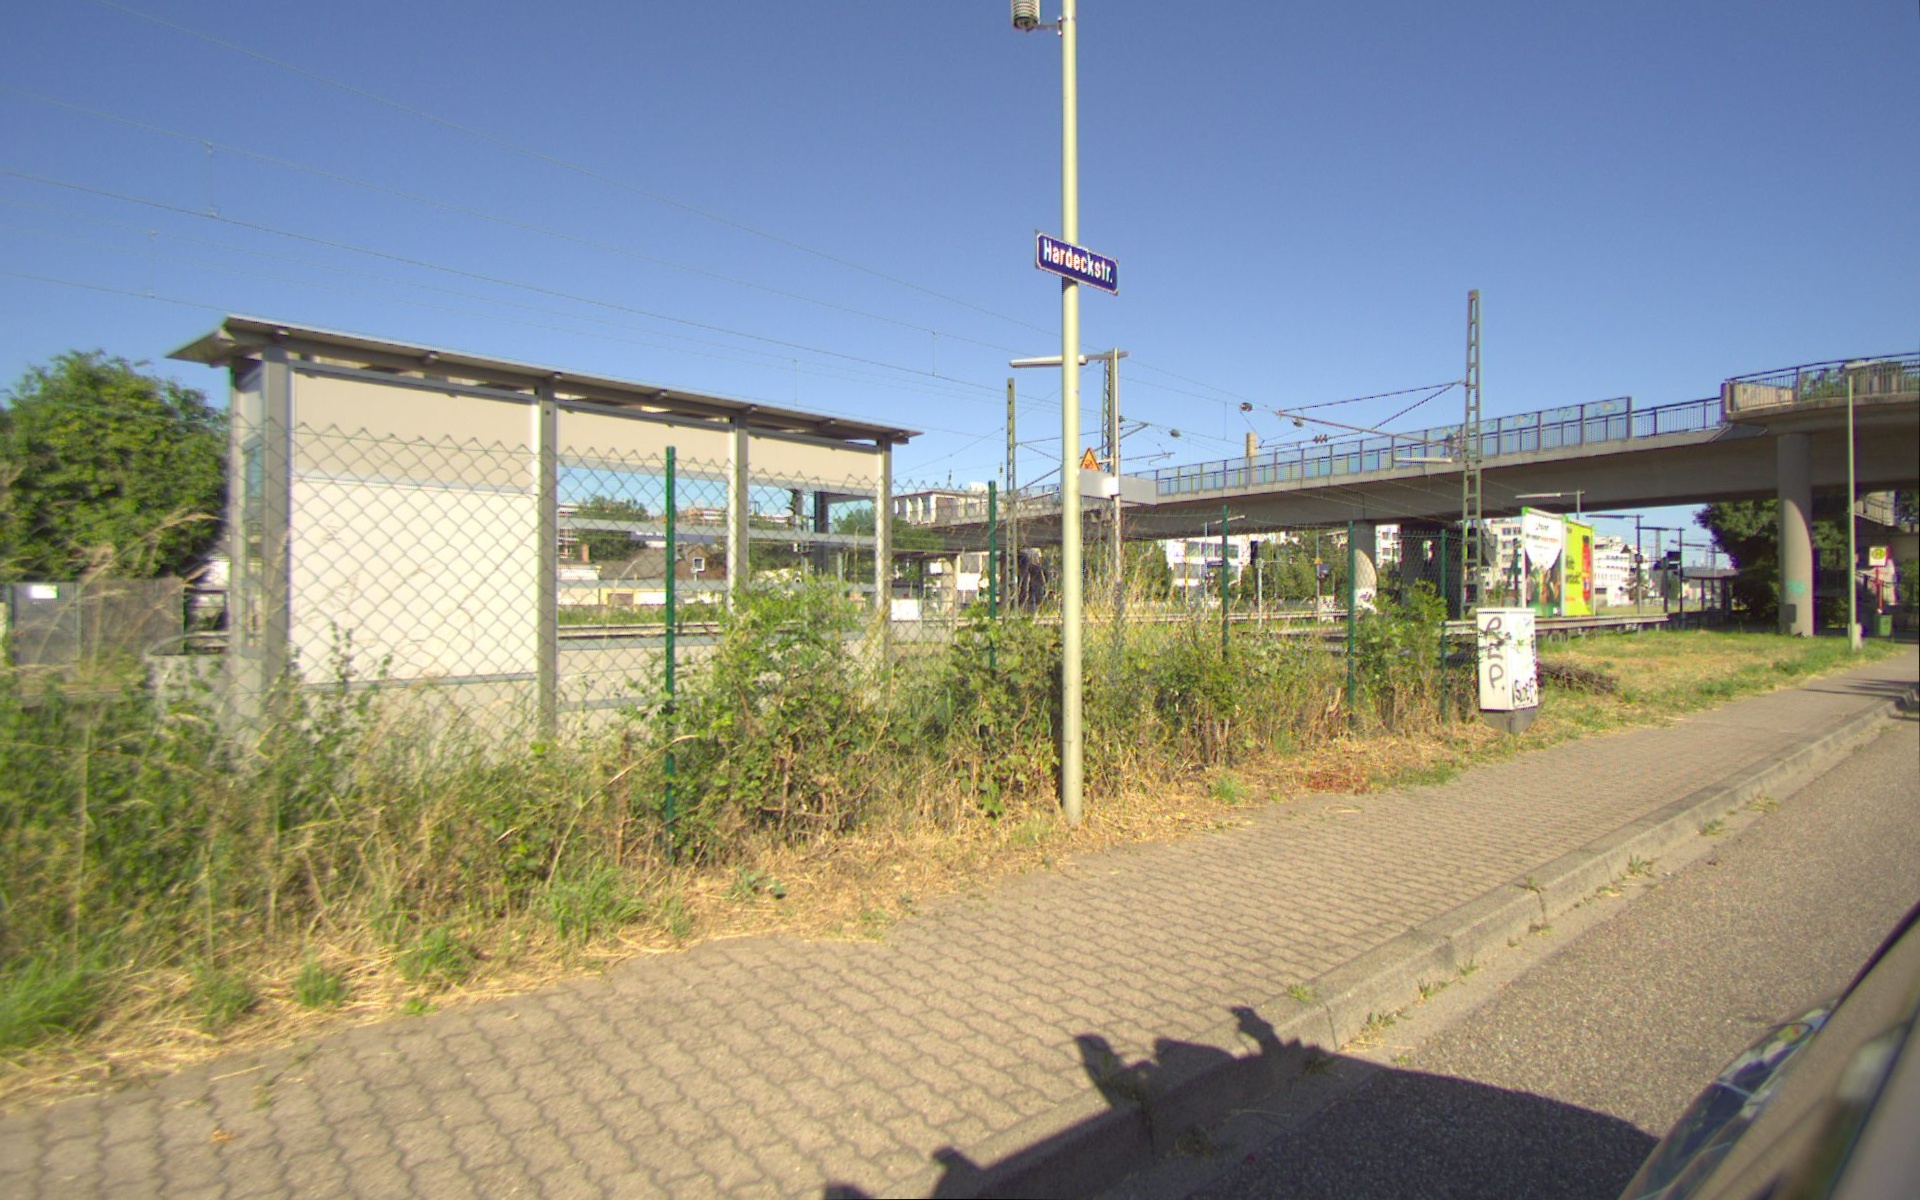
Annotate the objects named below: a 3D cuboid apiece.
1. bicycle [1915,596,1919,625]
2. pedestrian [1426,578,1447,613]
[{"bbox_3d":[41.751,0.448,43.788,0.597,1.197,2.147,1,1,43],"label":"bicycle"},{"bbox_3d":[28.565,-0.269,60.678,0.822,2.039,0.894,0,0,-44],"label":"pedestrian"}]
